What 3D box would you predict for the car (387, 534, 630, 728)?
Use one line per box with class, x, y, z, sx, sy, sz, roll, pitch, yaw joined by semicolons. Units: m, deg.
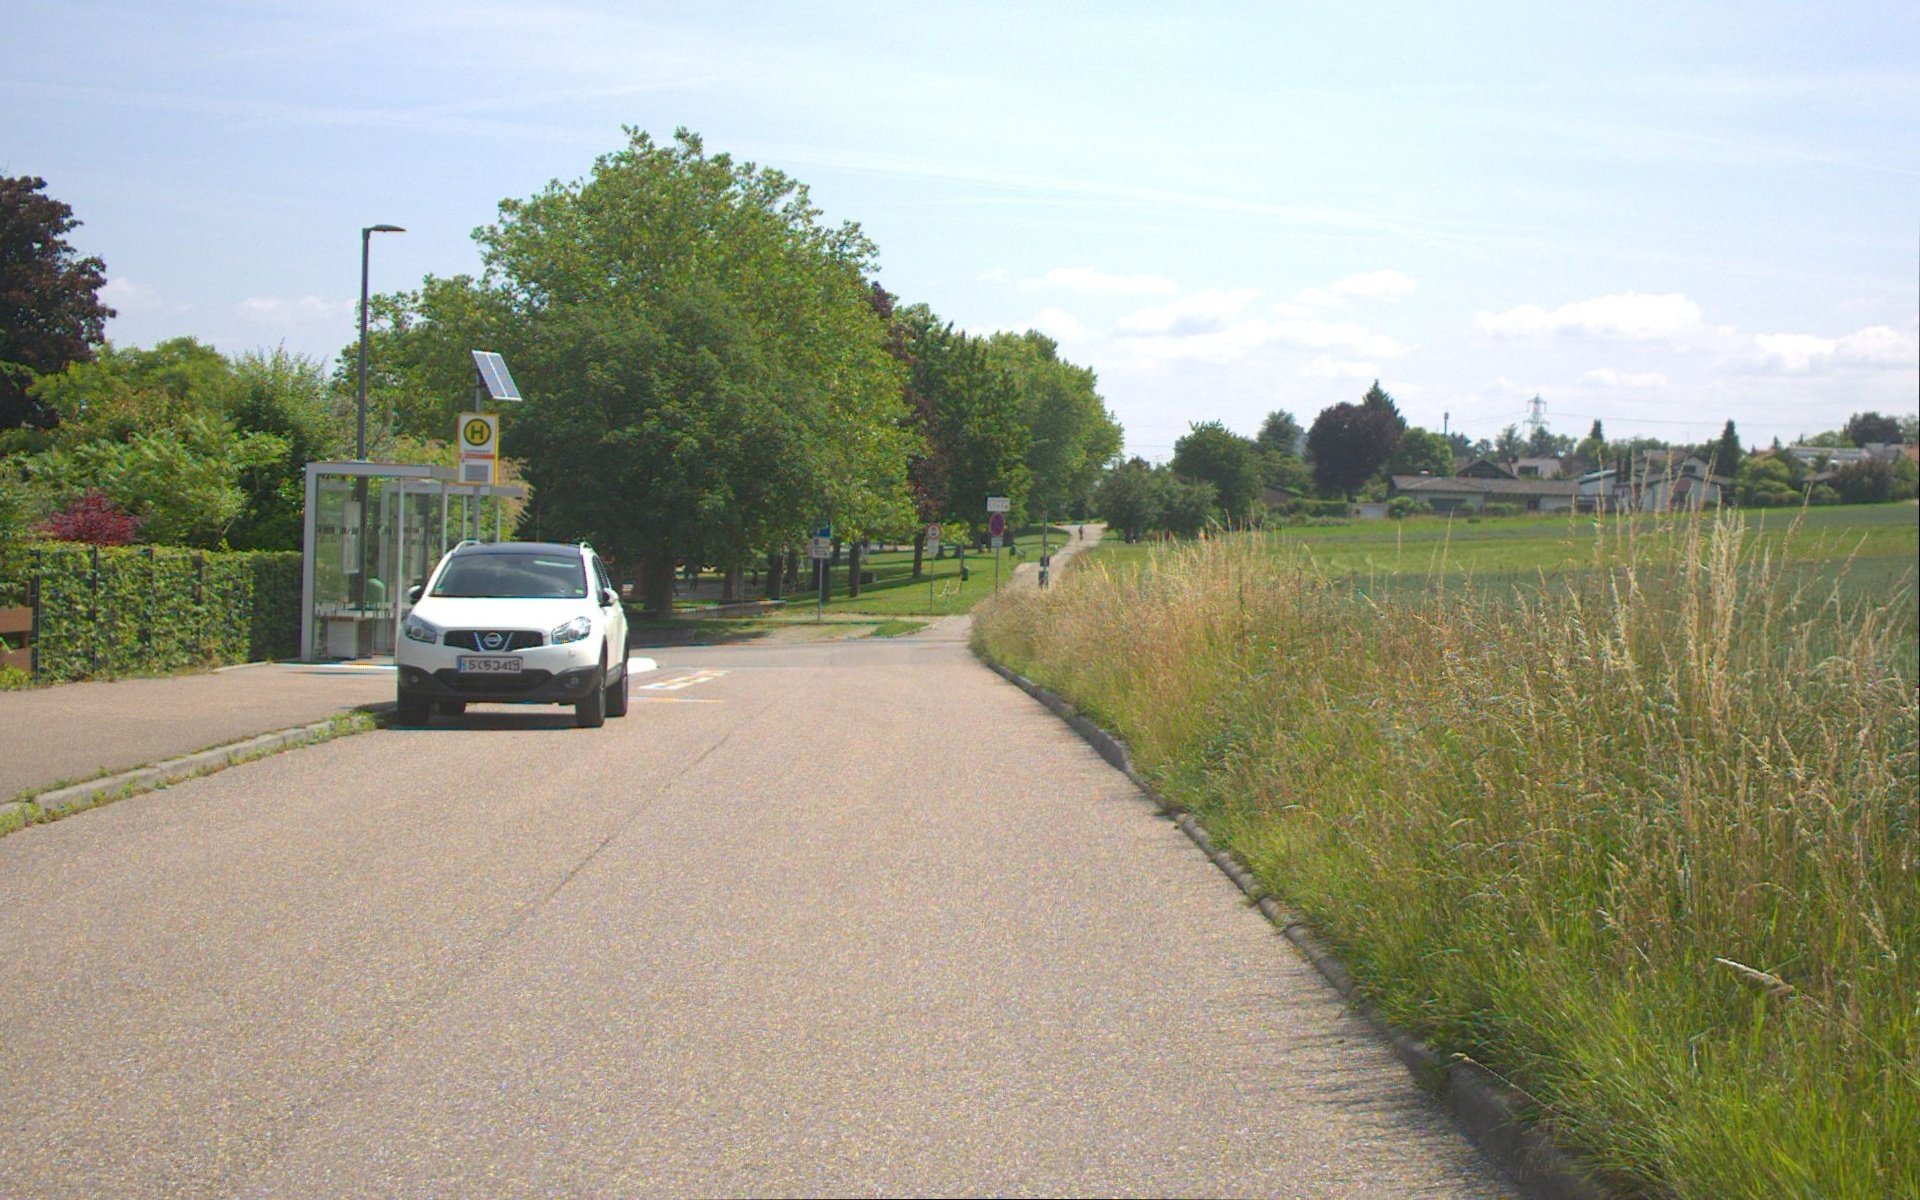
car;-4.029;0.256;31.246;1.734;1.628;4.353;1;0;-2
